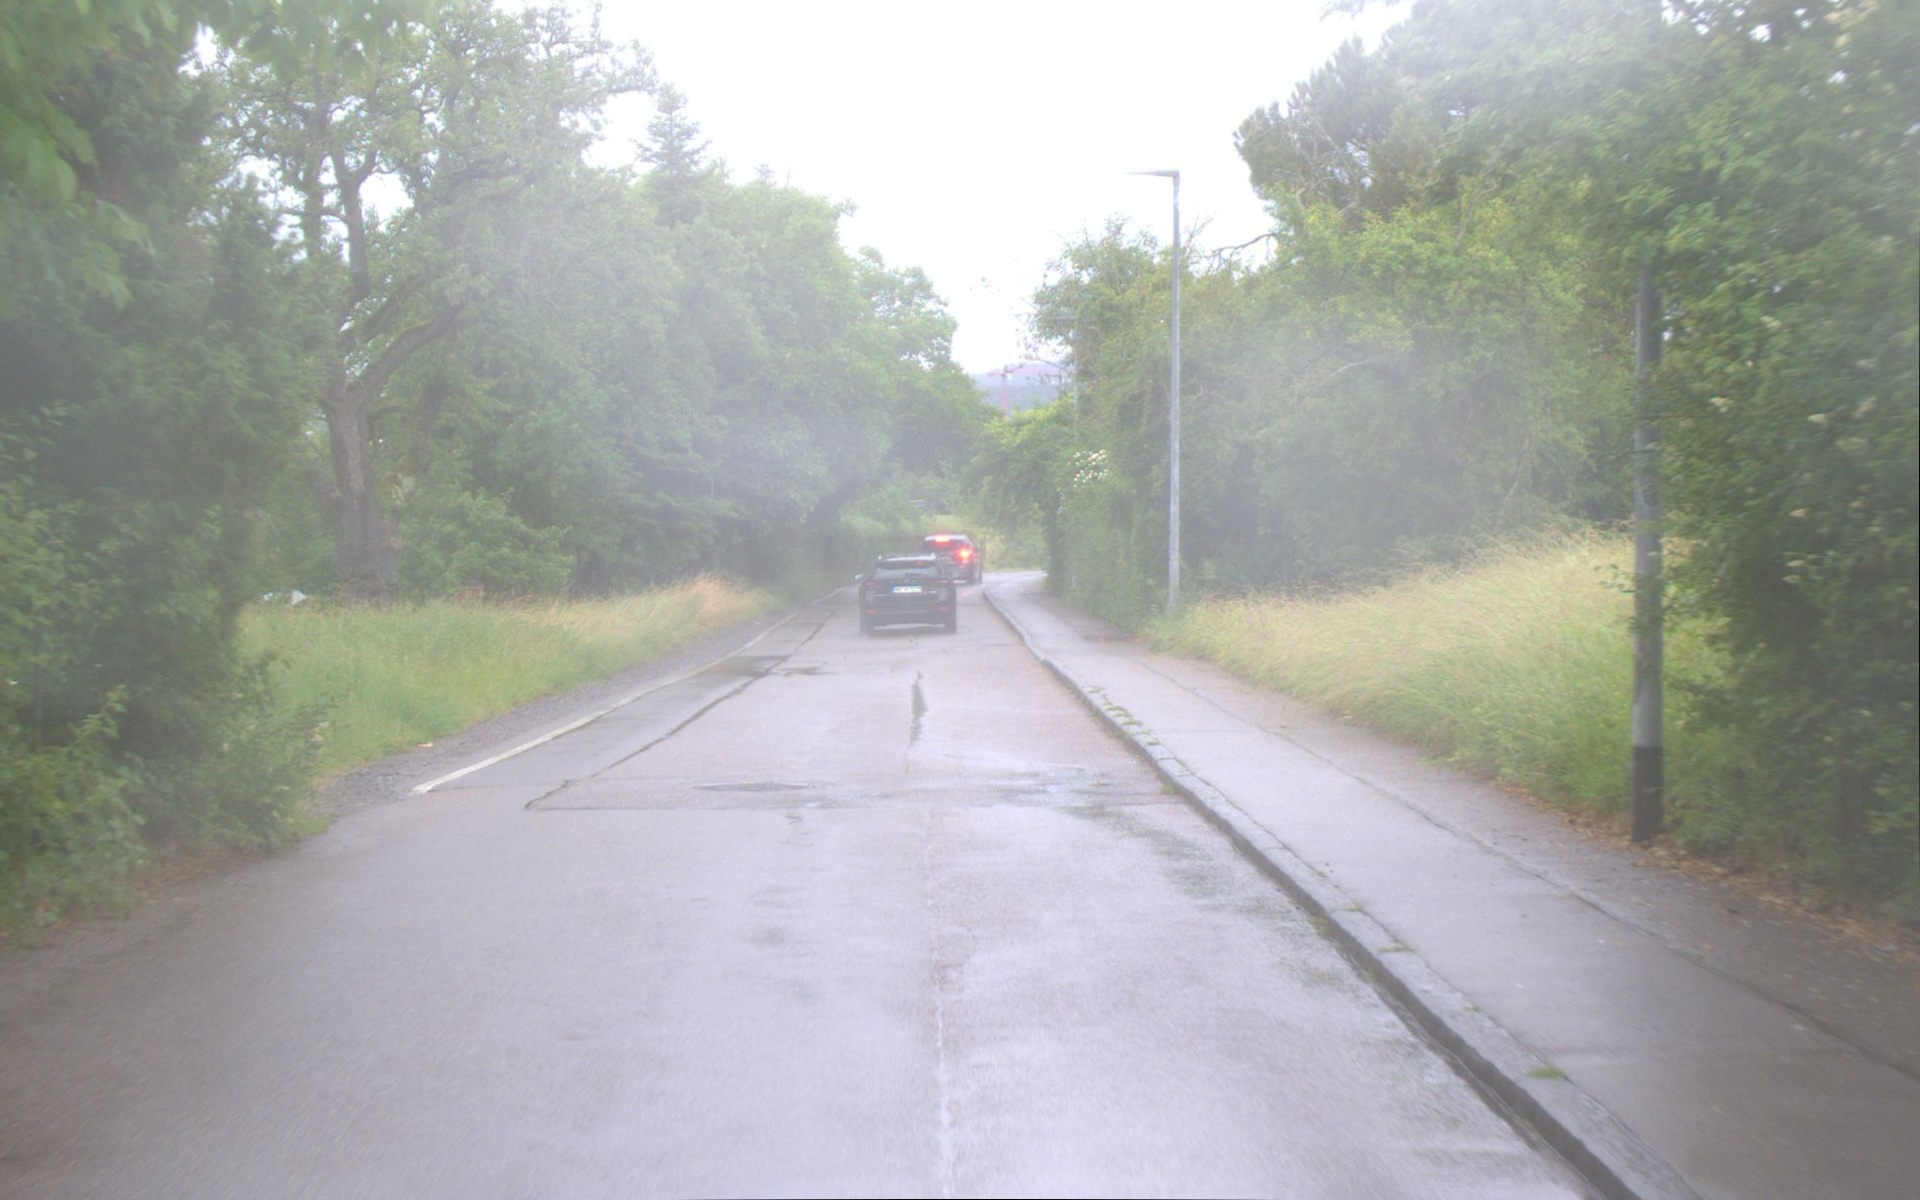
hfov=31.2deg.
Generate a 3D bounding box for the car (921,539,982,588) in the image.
[{"bbox_3d":[-0.239,-1.102,105.226,1.635,1.409,3.544,-1,0,4],"label":"car"}]

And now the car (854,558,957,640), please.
[{"bbox_3d":[-0.973,0.000,62.817,1.635,1.445,3.544,0,-1,3],"label":"car"}]
